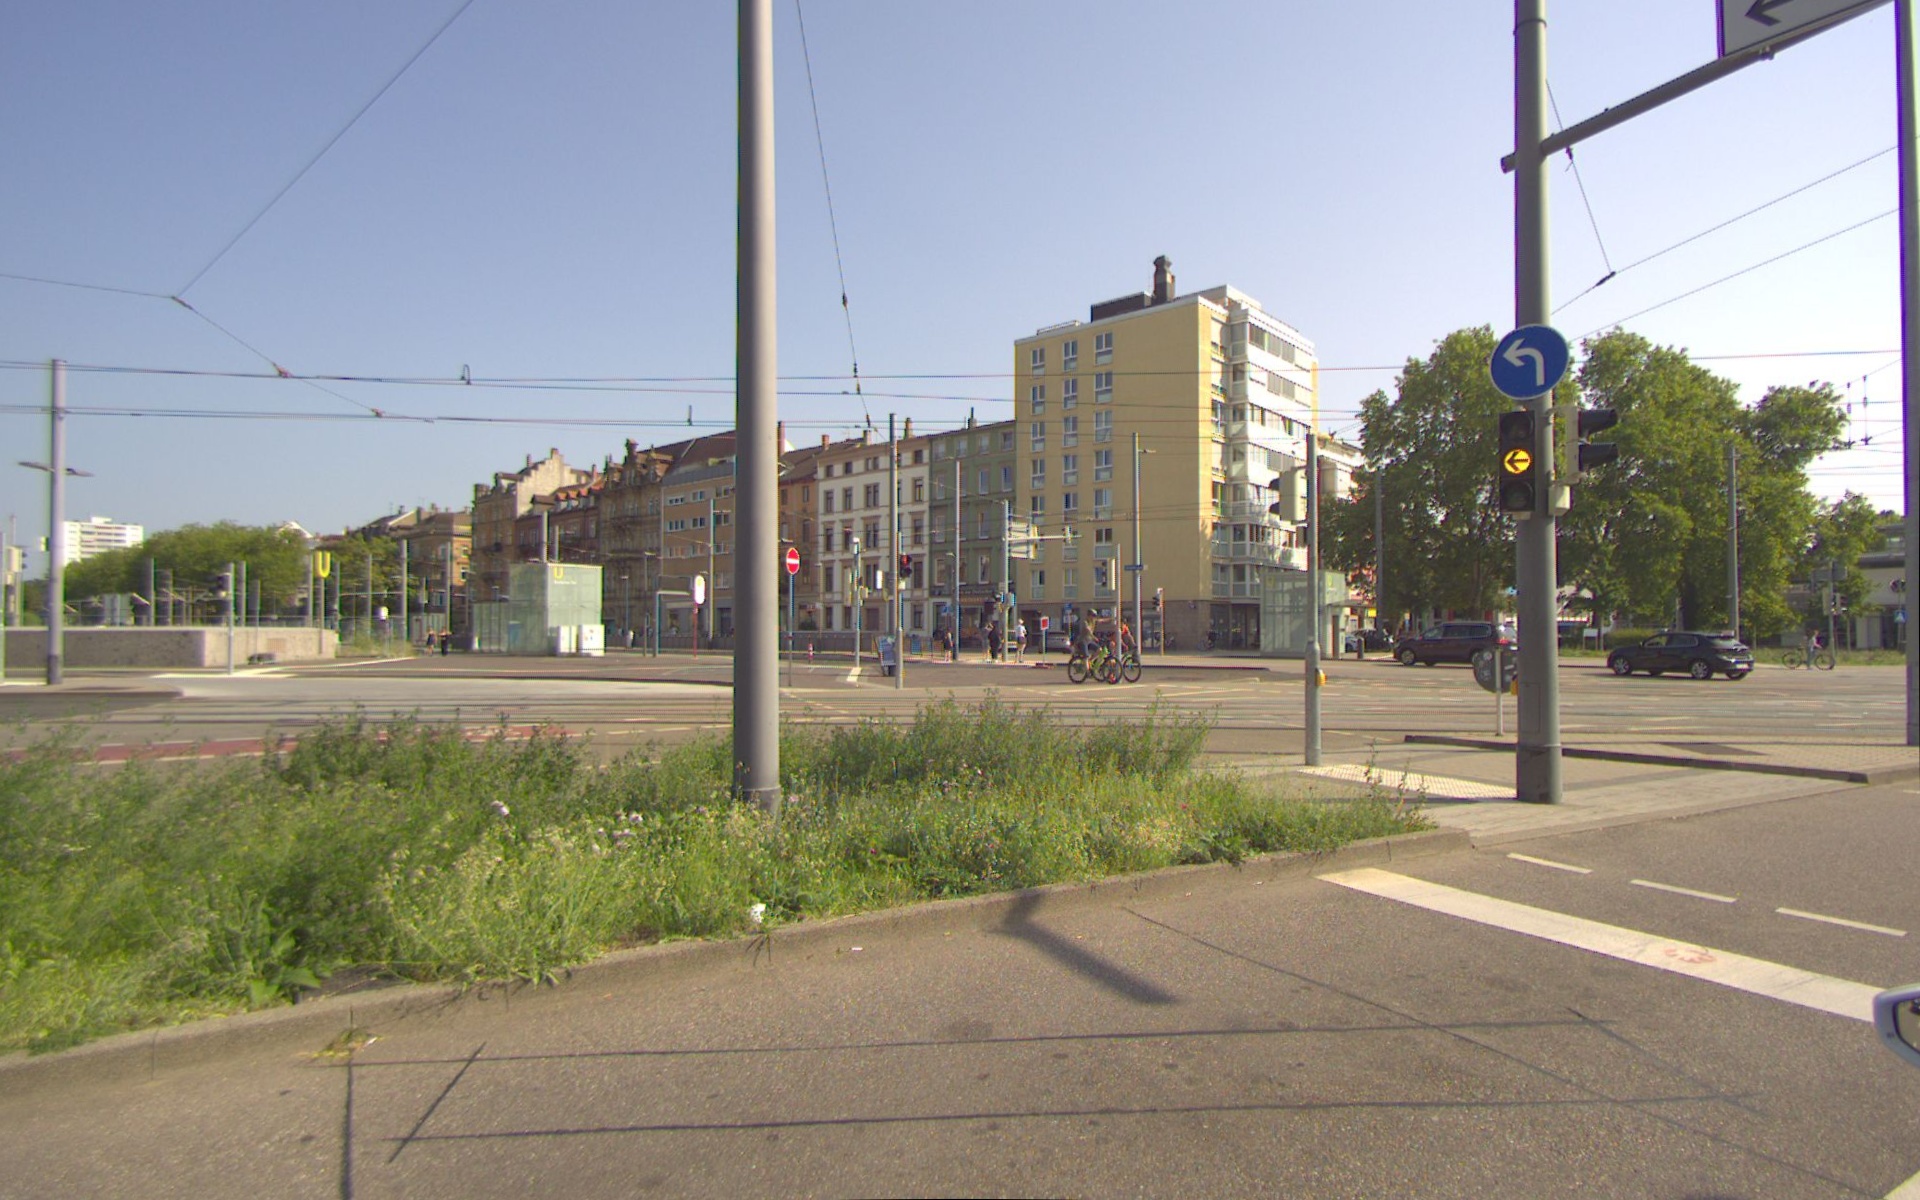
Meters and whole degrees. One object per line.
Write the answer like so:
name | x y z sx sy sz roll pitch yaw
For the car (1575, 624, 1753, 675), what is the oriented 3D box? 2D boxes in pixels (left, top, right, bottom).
car | 22.166 1.527 31.800 1.668 1.511 4.337 1 -2 -30

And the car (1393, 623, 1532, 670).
car | 19.598 1.770 39.272 4.487 1.701 1.988 -1 -2 44

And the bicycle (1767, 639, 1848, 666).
bicycle | 35.883 2.196 42.564 2.573 1.071 0.955 -1 -2 44

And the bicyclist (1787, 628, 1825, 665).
bicyclist | 35.875 1.951 42.598 1.150 1.547 0.955 0 -1 44

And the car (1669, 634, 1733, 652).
car | 65.252 3.774 88.515 4.426 1.543 1.705 1 -1 -1

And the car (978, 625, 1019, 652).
car | 2.467 2.472 65.338 1.963 1.701 4.545 1 -1 -7

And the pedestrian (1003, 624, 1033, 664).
pedestrian | 2.522 1.887 43.485 0.911 1.712 0.918 0 -1 40

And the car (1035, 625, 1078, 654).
car | 5.883 2.430 61.863 1.961 1.701 4.548 1 -1 -3

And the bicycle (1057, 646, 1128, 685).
bicycle | 3.455 1.709 26.319 0.721 0.944 1.795 1 -2 -43

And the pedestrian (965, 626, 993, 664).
pedestrian | 0.863 2.024 45.514 0.911 1.712 0.918 0 -1 40

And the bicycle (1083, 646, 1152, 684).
bicycle | 4.231 1.741 27.106 0.721 0.944 1.795 1 -2 -43

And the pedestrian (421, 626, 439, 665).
pedestrian | -25.838 2.226 48.973 0.646 1.891 0.714 1 -1 -36

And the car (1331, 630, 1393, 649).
car | 30.319 2.990 75.860 4.106 1.372 1.571 -1 -2 39

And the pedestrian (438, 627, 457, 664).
pedestrian | -25.259 2.234 49.497 0.745 1.806 0.700 1 -2 -36

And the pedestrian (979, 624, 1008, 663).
pedestrian | 1.474 1.929 44.594 0.911 1.712 0.918 0 -1 40

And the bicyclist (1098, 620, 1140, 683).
bicyclist | 4.280 1.370 27.067 0.721 1.674 0.873 1 -2 -43

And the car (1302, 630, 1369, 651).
car | 26.061 2.801 69.791 4.106 1.372 1.571 -1 -2 39

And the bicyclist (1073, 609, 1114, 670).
bicyclist | 3.491 1.030 26.288 0.721 1.547 0.786 1 -2 -43

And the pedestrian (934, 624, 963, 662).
pedestrian | -0.523 1.932 45.620 0.911 1.712 0.918 0 -1 40
